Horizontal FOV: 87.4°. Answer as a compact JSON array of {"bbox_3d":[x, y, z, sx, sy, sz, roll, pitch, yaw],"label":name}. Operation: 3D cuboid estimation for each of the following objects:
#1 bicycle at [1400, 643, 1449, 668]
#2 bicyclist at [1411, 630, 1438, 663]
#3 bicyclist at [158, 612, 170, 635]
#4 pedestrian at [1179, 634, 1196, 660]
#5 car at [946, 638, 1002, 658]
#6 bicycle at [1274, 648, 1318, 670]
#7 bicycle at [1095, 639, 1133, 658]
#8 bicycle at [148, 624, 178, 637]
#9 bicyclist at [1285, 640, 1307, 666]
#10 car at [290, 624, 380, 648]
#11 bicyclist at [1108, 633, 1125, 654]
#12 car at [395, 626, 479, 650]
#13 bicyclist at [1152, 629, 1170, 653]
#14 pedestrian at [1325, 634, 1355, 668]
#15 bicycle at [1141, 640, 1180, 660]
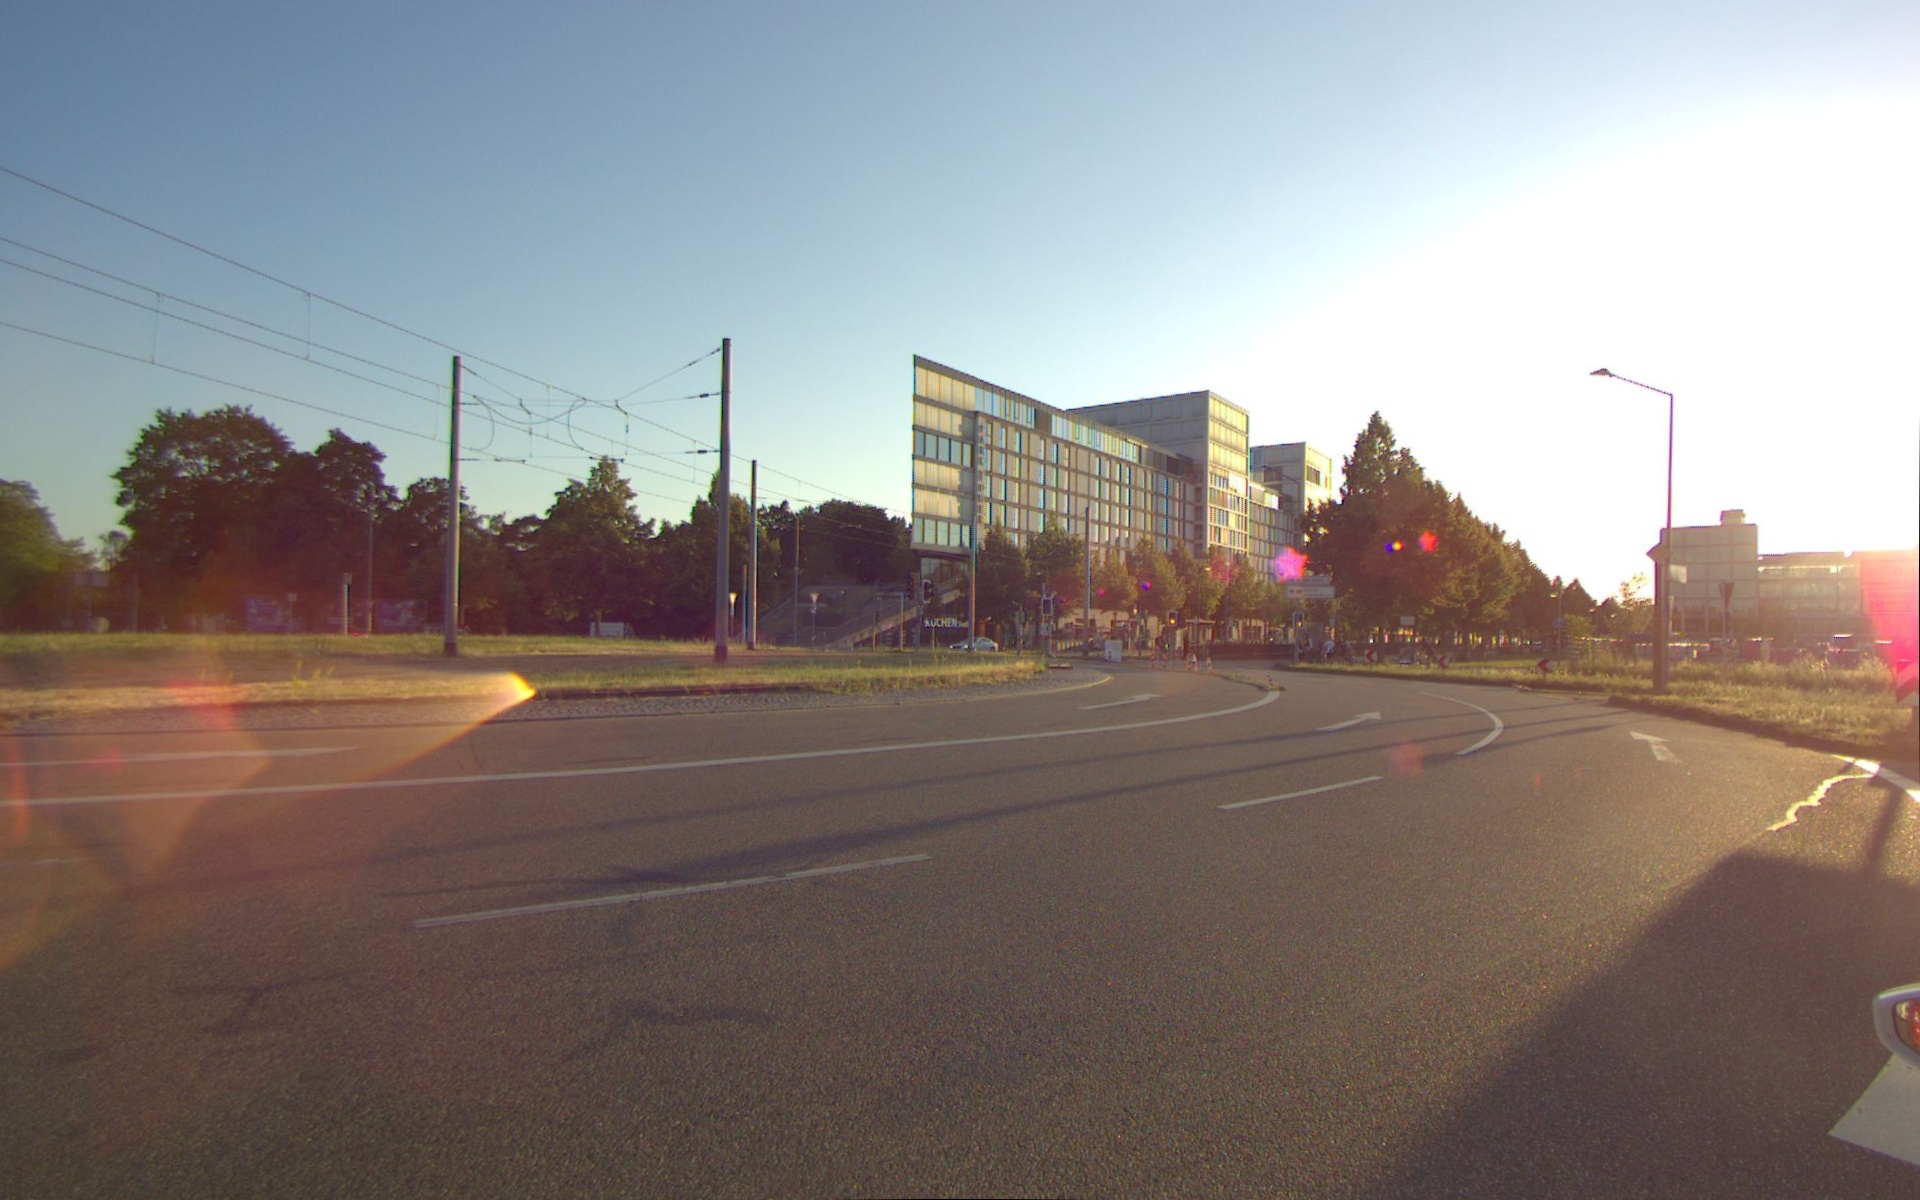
[{"bbox_3d":[23.665,2.828,51.193,0.744,1.182,2.396,2,-2,-23],"label":"bicycle"},{"bbox_3d":[23.664,2.375,51.181,0.744,1.634,0.972,2,-2,-24],"label":"bicyclist"},{"bbox_3d":[-50.183,1.465,63.289,0.466,1.416,0.447,0,-2,35],"label":"bicyclist"},{"bbox_3d":[15.180,3.134,67.047,0.872,1.730,0.793,0,-2,30],"label":"pedestrian"},{"bbox_3d":[1.197,3.913,82.054,1.967,1.565,5.187,0,-2,34],"label":"car"},{"bbox_3d":[19.167,3.342,57.305,0.748,1.182,2.383,2,-2,-39],"label":"bicycle"},{"bbox_3d":[10.226,3.185,66.549,2.365,1.182,0.754,0,-2,28],"label":"bicycle"},{"bbox_3d":[-50.205,1.910,63.279,0.466,0.802,1.414,0,-2,34],"label":"bicycle"},{"bbox_3d":[19.165,3.029,57.289,0.748,1.412,0.967,2,-2,-39],"label":"bicyclist"},{"bbox_3d":[-39.533,2.268,63.572,4.502,1.451,1.946,0,-2,5],"label":"car"},{"bbox_3d":[10.357,2.870,66.531,0.863,1.411,0.754,0,-2,27],"label":"bicyclist"},{"bbox_3d":[-32.629,2.350,62.769,4.233,1.451,1.946,0,-2,5],"label":"car"},{"bbox_3d":[12.986,2.634,64.918,0.960,1.545,0.754,0,-2,24],"label":"bicyclist"},{"bbox_3d":[20.818,2.777,55.036,0.969,1.851,1.152,2,-2,-32],"label":"pedestrian"},{"bbox_3d":[12.960,3.214,64.949,2.364,1.182,0.754,0,-2,24],"label":"bicycle"}]
